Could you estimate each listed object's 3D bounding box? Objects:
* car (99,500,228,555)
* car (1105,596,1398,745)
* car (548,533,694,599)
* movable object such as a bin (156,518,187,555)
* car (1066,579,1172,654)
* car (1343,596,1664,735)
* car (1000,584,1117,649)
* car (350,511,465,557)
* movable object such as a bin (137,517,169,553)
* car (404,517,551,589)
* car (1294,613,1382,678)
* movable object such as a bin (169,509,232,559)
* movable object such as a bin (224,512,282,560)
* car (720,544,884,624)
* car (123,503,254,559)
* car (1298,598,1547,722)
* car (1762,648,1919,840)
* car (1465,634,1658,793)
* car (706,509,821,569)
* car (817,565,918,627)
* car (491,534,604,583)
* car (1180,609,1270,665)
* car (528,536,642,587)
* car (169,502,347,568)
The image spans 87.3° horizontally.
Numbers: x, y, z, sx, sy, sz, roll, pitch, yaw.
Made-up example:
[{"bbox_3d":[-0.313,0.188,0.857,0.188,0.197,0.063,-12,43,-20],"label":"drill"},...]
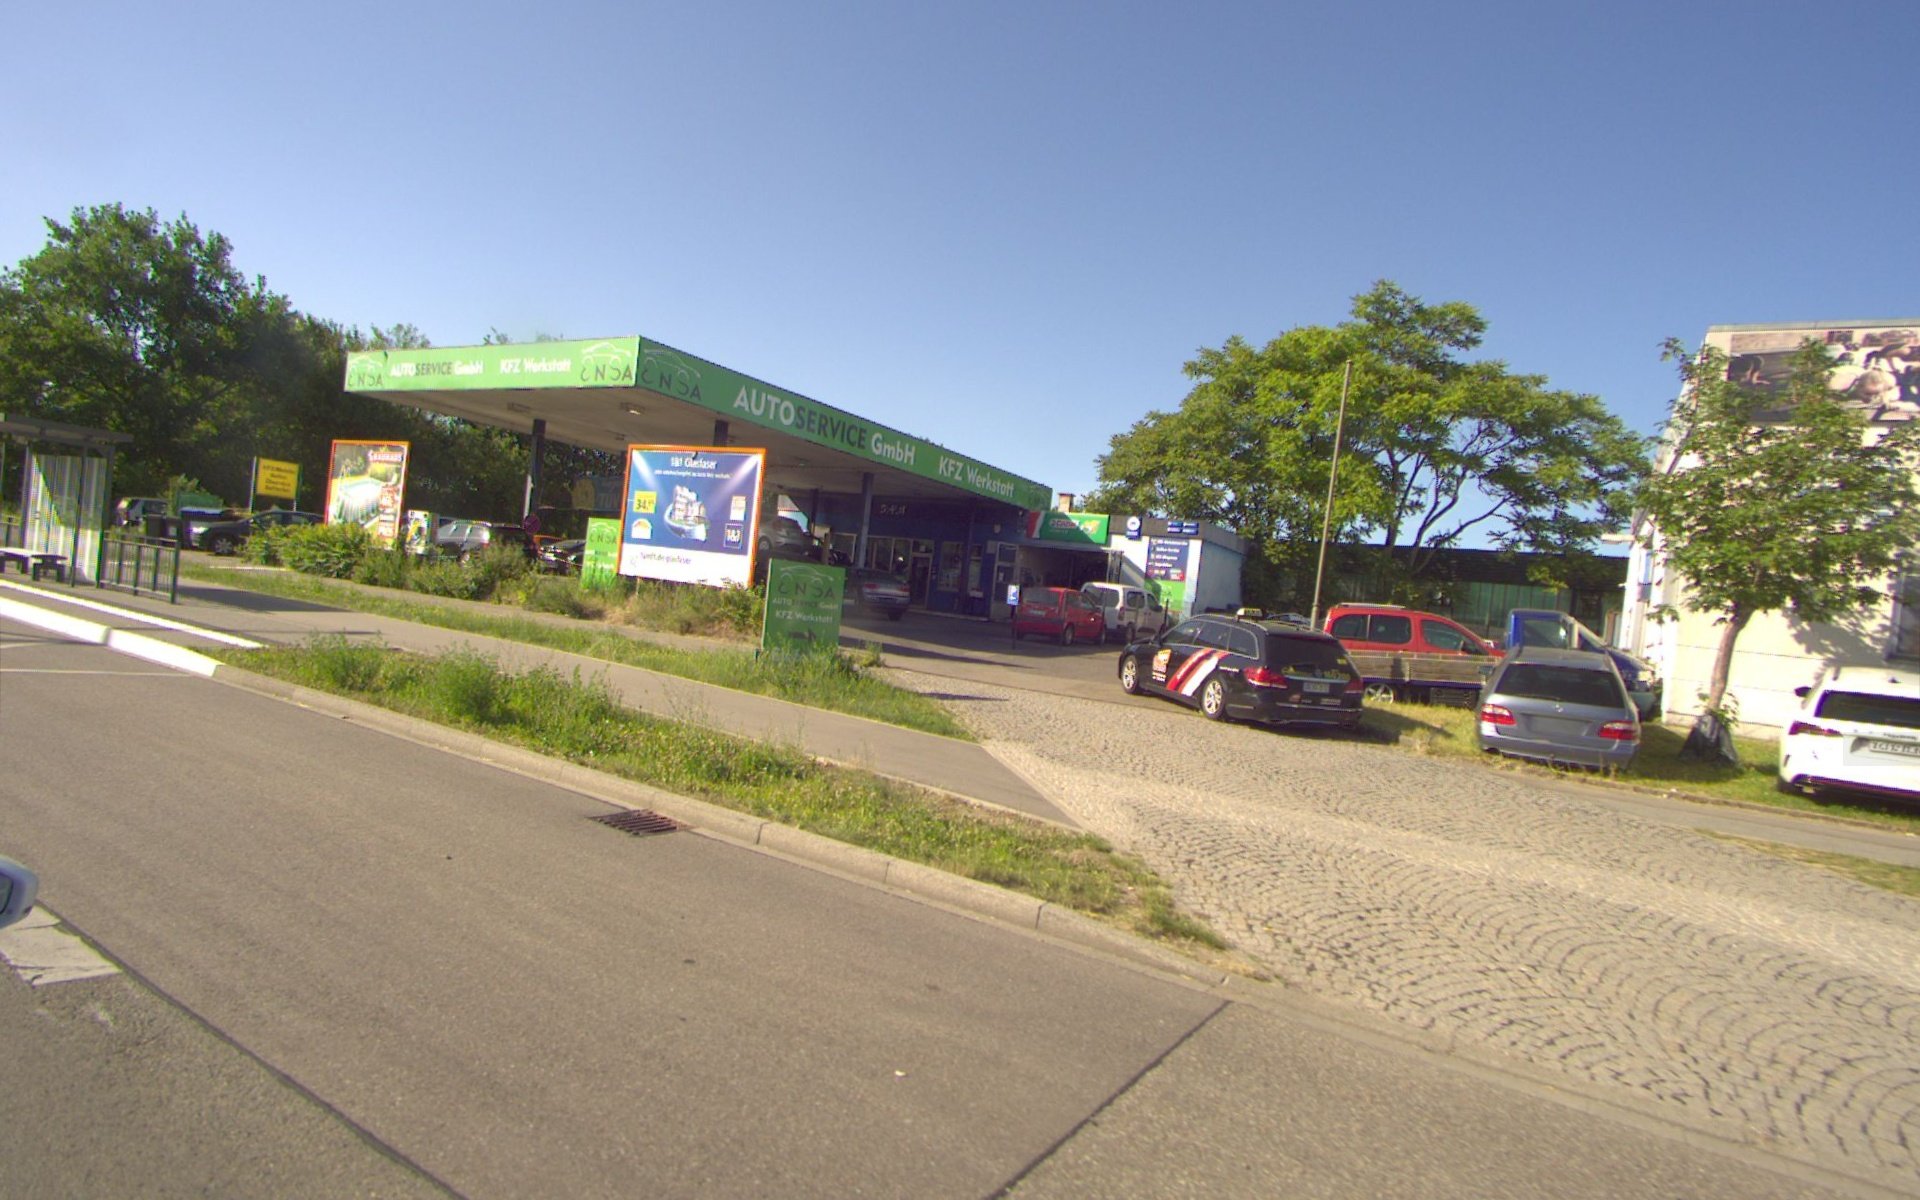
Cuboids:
[{"bbox_3d":[-29.760,-2.688,37.647,1.743,1.503,3.289,6,-2,33],"label":"car"},{"bbox_3d":[4.028,0.895,14.970,1.870,1.551,4.818,4,2,-15],"label":"car"},{"bbox_3d":[-10.787,-1.053,32.257,3.929,1.503,2.000,7,-2,-5],"label":"car"},{"bbox_3d":[-26.340,-2.124,33.621,0.501,1.134,0.581,6,0,-10],"label":"movable object such as a bin"},{"bbox_3d":[5.089,0.558,31.908,1.892,1.929,3.698,6,-2,31],"label":"car"},{"bbox_3d":[9.198,1.012,17.357,4.518,1.807,1.683,5,3,29],"label":"car"},{"bbox_3d":[2.827,0.385,28.183,1.819,1.570,3.760,3,3,31],"label":"car"},{"bbox_3d":[-24.049,-2.853,43.907,1.706,1.551,4.037,6,1,33],"label":"car"},{"bbox_3d":[-26.794,-2.161,33.408,0.501,1.088,0.581,7,0,-10],"label":"movable object such as a bin"},{"bbox_3d":[-13.784,-1.350,28.693,4.179,1.592,1.746,6,0,33],"label":"car"},{"bbox_3d":[11.180,1.278,29.591,1.638,1.620,4.201,3,2,31],"label":"car"},{"bbox_3d":[-25.419,-2.209,33.703,1.240,1.446,0.987,7,0,-11],"label":"movable object such as a bin"},{"bbox_3d":[-24.162,-2.169,34.413,1.204,1.446,0.987,6,0,-11],"label":"movable object such as a bin"},{"bbox_3d":[-4.345,-0.444,27.525,3.934,1.666,1.997,6,-2,32],"label":"car"},{"bbox_3d":[-27.904,-2.478,36.465,1.700,1.434,3.289,6,-2,33],"label":"car"},{"bbox_3d":[9.070,1.079,19.839,4.145,1.887,1.893,5,3,29],"label":"car"},{"bbox_3d":[10.536,1.524,11.522,1.701,1.474,3.901,7,7,43],"label":"car"},{"bbox_3d":[7.856,1.327,13.108,1.811,1.310,3.599,5,6,33],"label":"car"},{"bbox_3d":[-7.173,-2.230,36.731,3.716,1.777,1.920,6,0,33],"label":"car"},{"bbox_3d":[-2.745,-0.153,29.140,1.671,1.438,3.682,8,-1,-24],"label":"car"},{"bbox_3d":[-16.535,-1.631,40.503,1.668,1.536,3.994,6,0,27],"label":"car"},{"bbox_3d":[8.142,1.069,30.687,1.638,1.395,3.761,3,3,31],"label":"car"},{"bbox_3d":[-14.623,-1.467,39.455,1.705,1.536,3.994,6,0,27],"label":"car"},{"bbox_3d":[-22.734,-2.088,32.823,4.505,1.662,1.788,4,2,-29],"label":"car"}]
